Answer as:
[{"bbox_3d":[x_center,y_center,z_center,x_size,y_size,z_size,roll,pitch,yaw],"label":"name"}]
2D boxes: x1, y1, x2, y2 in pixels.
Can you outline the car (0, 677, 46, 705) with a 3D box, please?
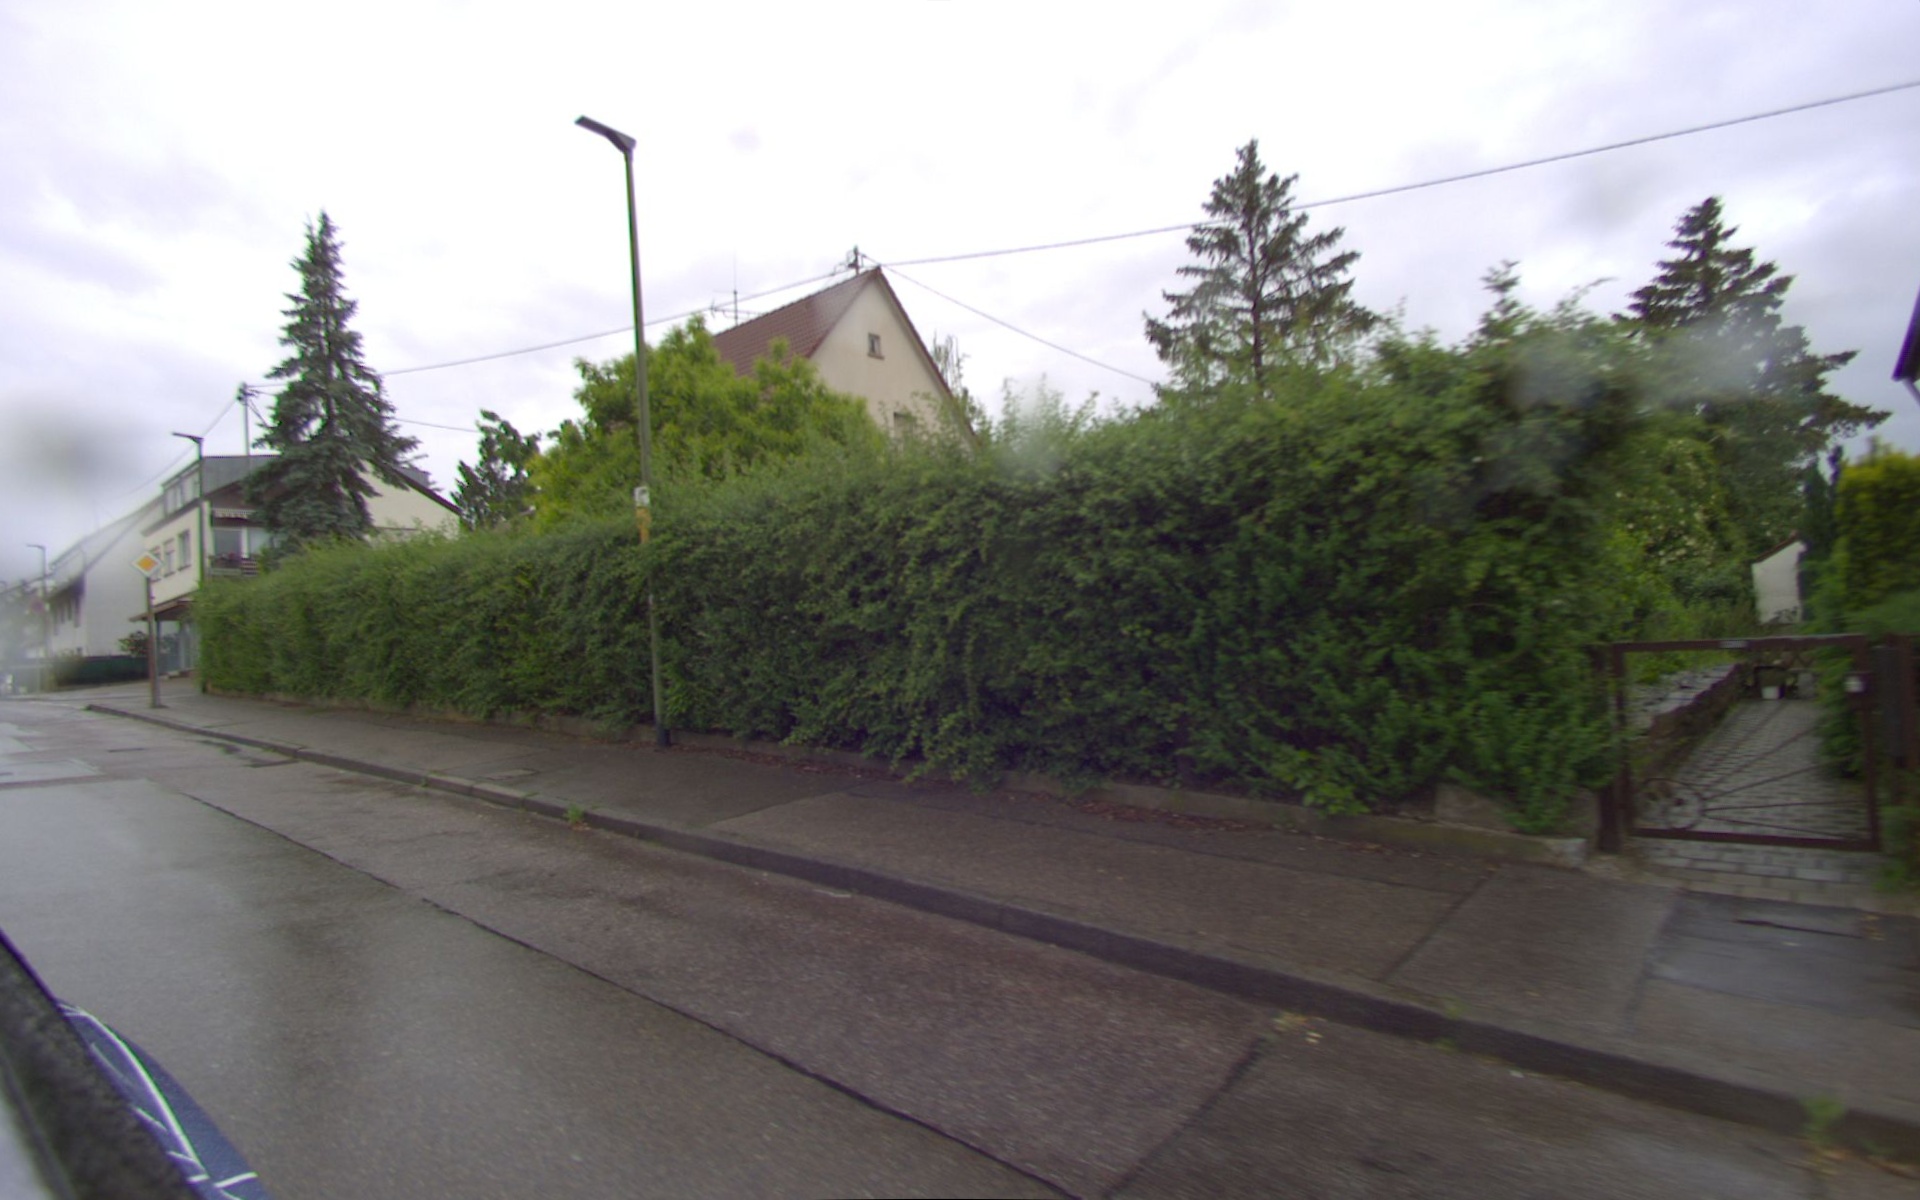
[{"bbox_3d":[-56.878,5.498,61.188,3.996,1.544,1.874,-4,-3,40],"label":"car"}]
